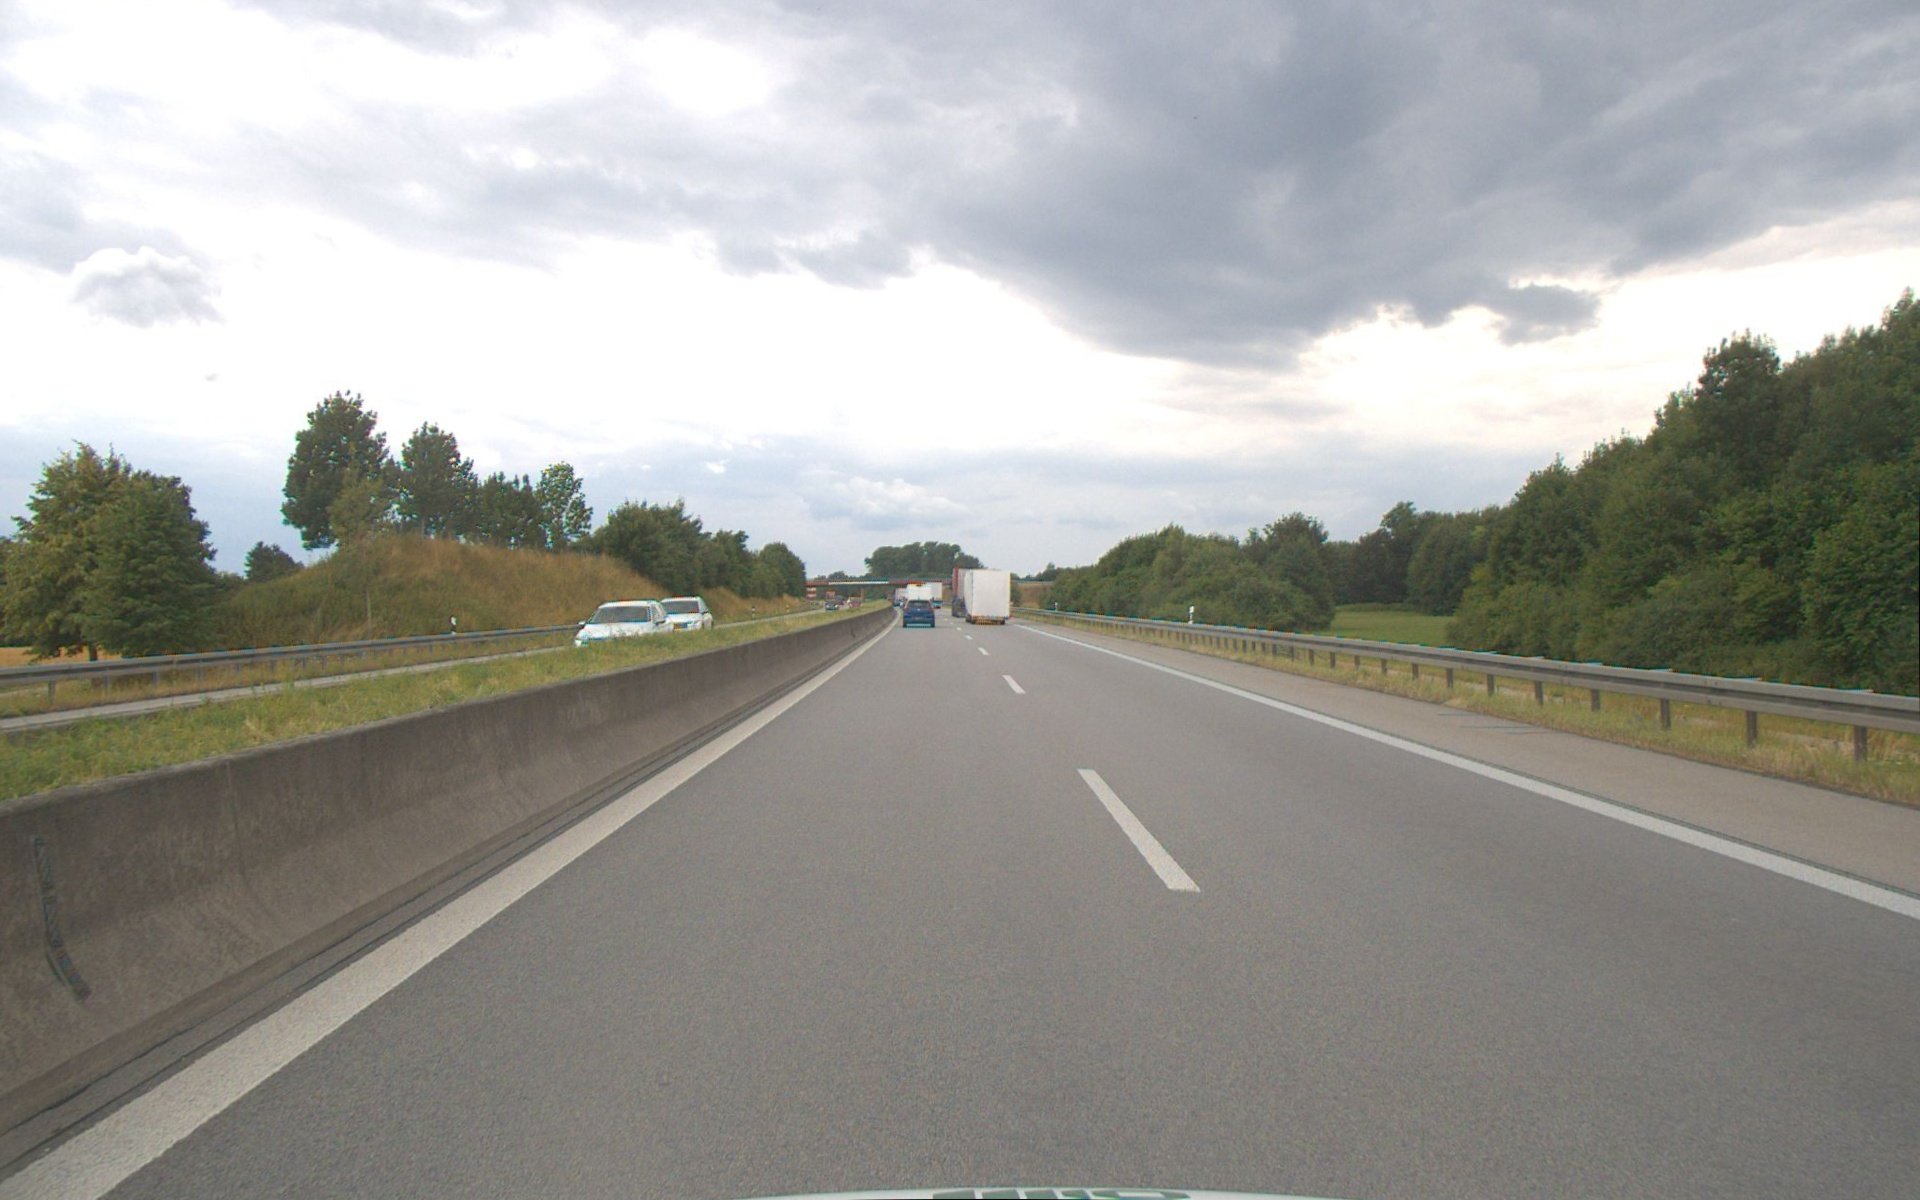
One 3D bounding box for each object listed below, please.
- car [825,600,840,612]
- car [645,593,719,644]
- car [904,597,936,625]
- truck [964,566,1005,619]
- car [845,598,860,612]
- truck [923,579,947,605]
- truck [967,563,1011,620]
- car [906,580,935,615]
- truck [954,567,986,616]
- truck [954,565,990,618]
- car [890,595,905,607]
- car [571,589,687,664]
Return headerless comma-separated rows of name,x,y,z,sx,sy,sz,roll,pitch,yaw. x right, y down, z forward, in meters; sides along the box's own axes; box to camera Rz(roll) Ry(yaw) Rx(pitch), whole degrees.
car,-17.459,0.781,226.400,1.809,1.523,4.578,-3,0,-2
car,-9.440,0.600,56.440,1.828,1.602,4.692,-2,0,-2
car,-2.099,0.572,86.228,1.630,1.432,3.647,0,0,-2
truck,1.519,-0.459,105.829,2.380,3.300,7.245,0,0,-1
car,-13.704,0.617,210.833,1.808,1.599,4.359,-2,0,-2
truck,-3.760,-1.164,247.786,3.048,3.754,9.317,-2,0,-3
truck,1.666,-0.501,98.641,2.366,3.278,7.142,0,0,-1
car,-2.996,-0.186,124.761,2.087,2.526,5.837,0,0,-2
truck,0.827,-0.723,140.948,2.619,4.116,5.511,-1,0,-1
truck,0.915,-0.685,135.579,2.619,4.116,11.105,-1,0,-1
car,-9.129,0.159,241.320,1.954,1.713,3.996,0,0,-4
car,-7.786,0.586,39.379,1.828,1.602,4.988,-2,0,-2
